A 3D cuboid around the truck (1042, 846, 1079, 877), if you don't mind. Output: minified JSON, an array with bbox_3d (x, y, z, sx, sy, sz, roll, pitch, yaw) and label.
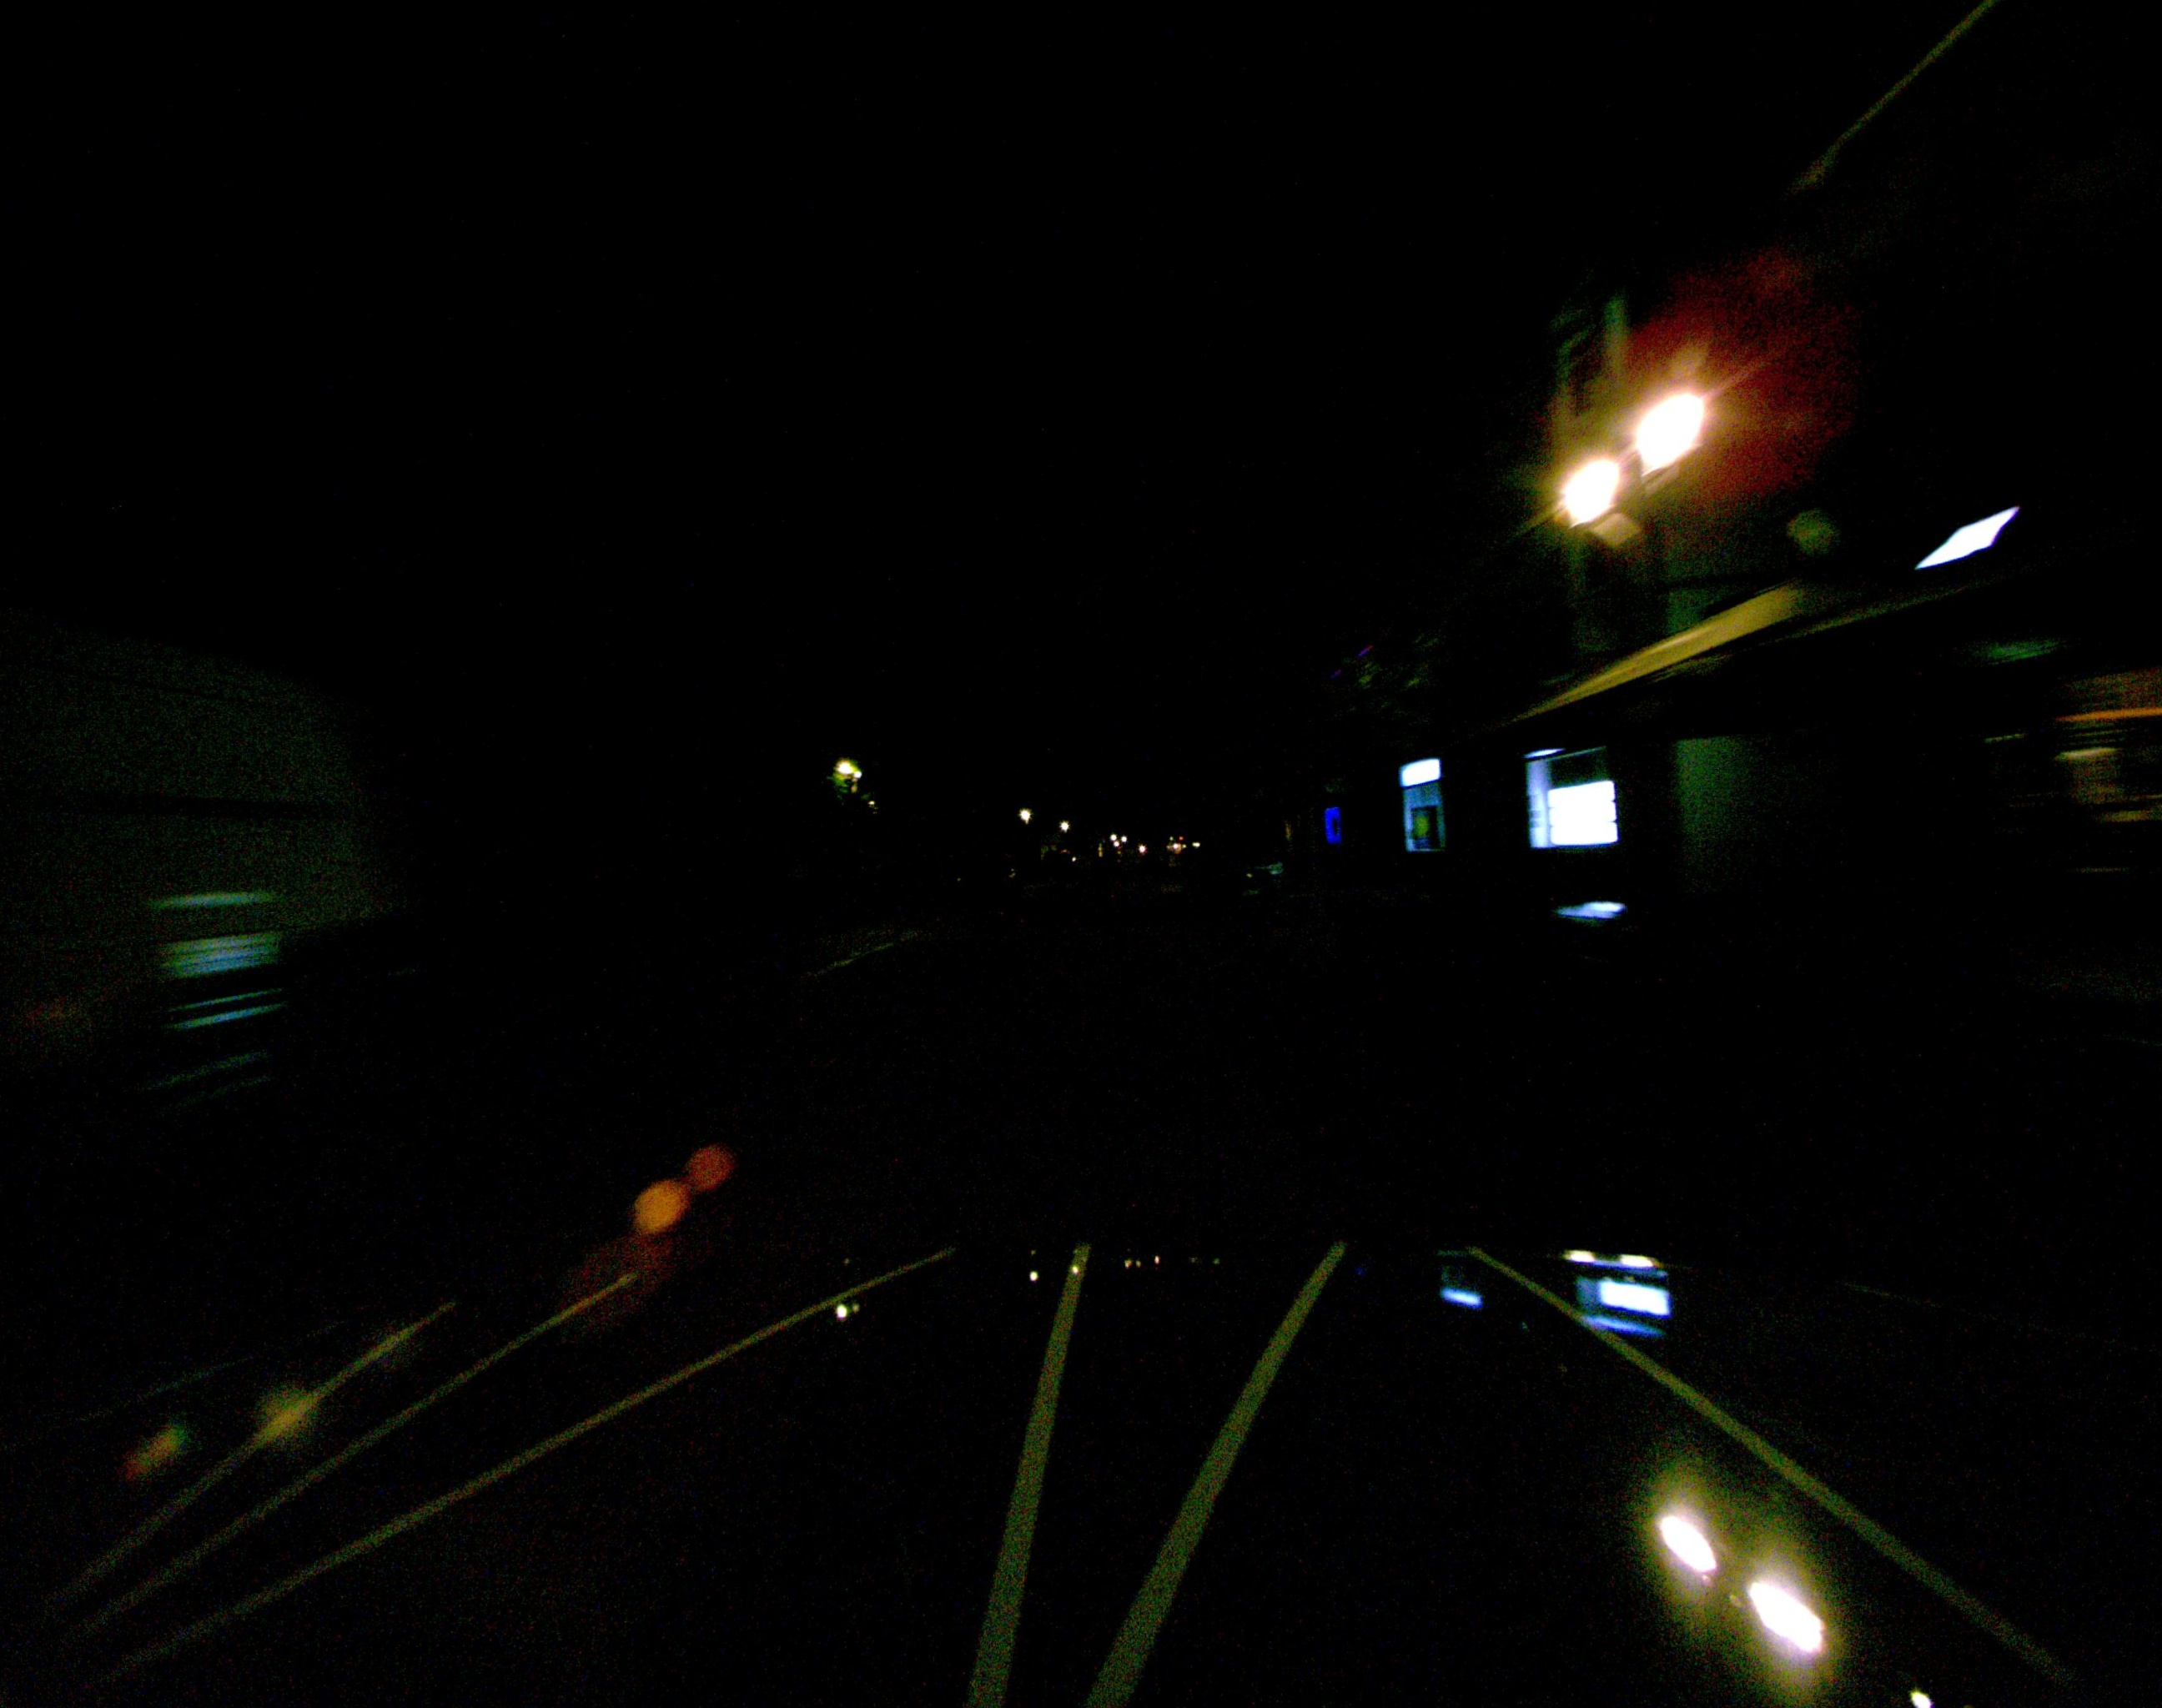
[{"bbox_3d":[-1.607,0.558,62.122,2.109,2.230,6.290,-4,0,6],"label":"truck"}]

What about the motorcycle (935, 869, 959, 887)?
[{"bbox_3d":[-10.384,1.836,58.831,1.725,1.244,0.433,-4,0,-7],"label":"motorcycle"}]

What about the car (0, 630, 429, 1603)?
[{"bbox_3d":[-3.660,0.665,0.357,2.140,2.313,5.151,-4,0,-1],"label":"car"}]

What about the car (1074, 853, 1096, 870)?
[{"bbox_3d":[0.442,0.736,76.620,1.737,1.492,4.002,-4,0,6],"label":"car"}]

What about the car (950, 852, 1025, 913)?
[{"bbox_3d":[-3.144,0.903,26.511,1.912,1.792,4.936,-4,0,0],"label":"car"}]

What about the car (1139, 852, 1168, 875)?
[{"bbox_3d":[5.398,0.699,56.953,1.795,1.496,4.000,-5,0,1],"label":"car"}]

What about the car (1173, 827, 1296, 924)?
[{"bbox_3d":[3.694,0.476,19.293,1.929,1.953,5.076,-6,0,0],"label":"car"}]
